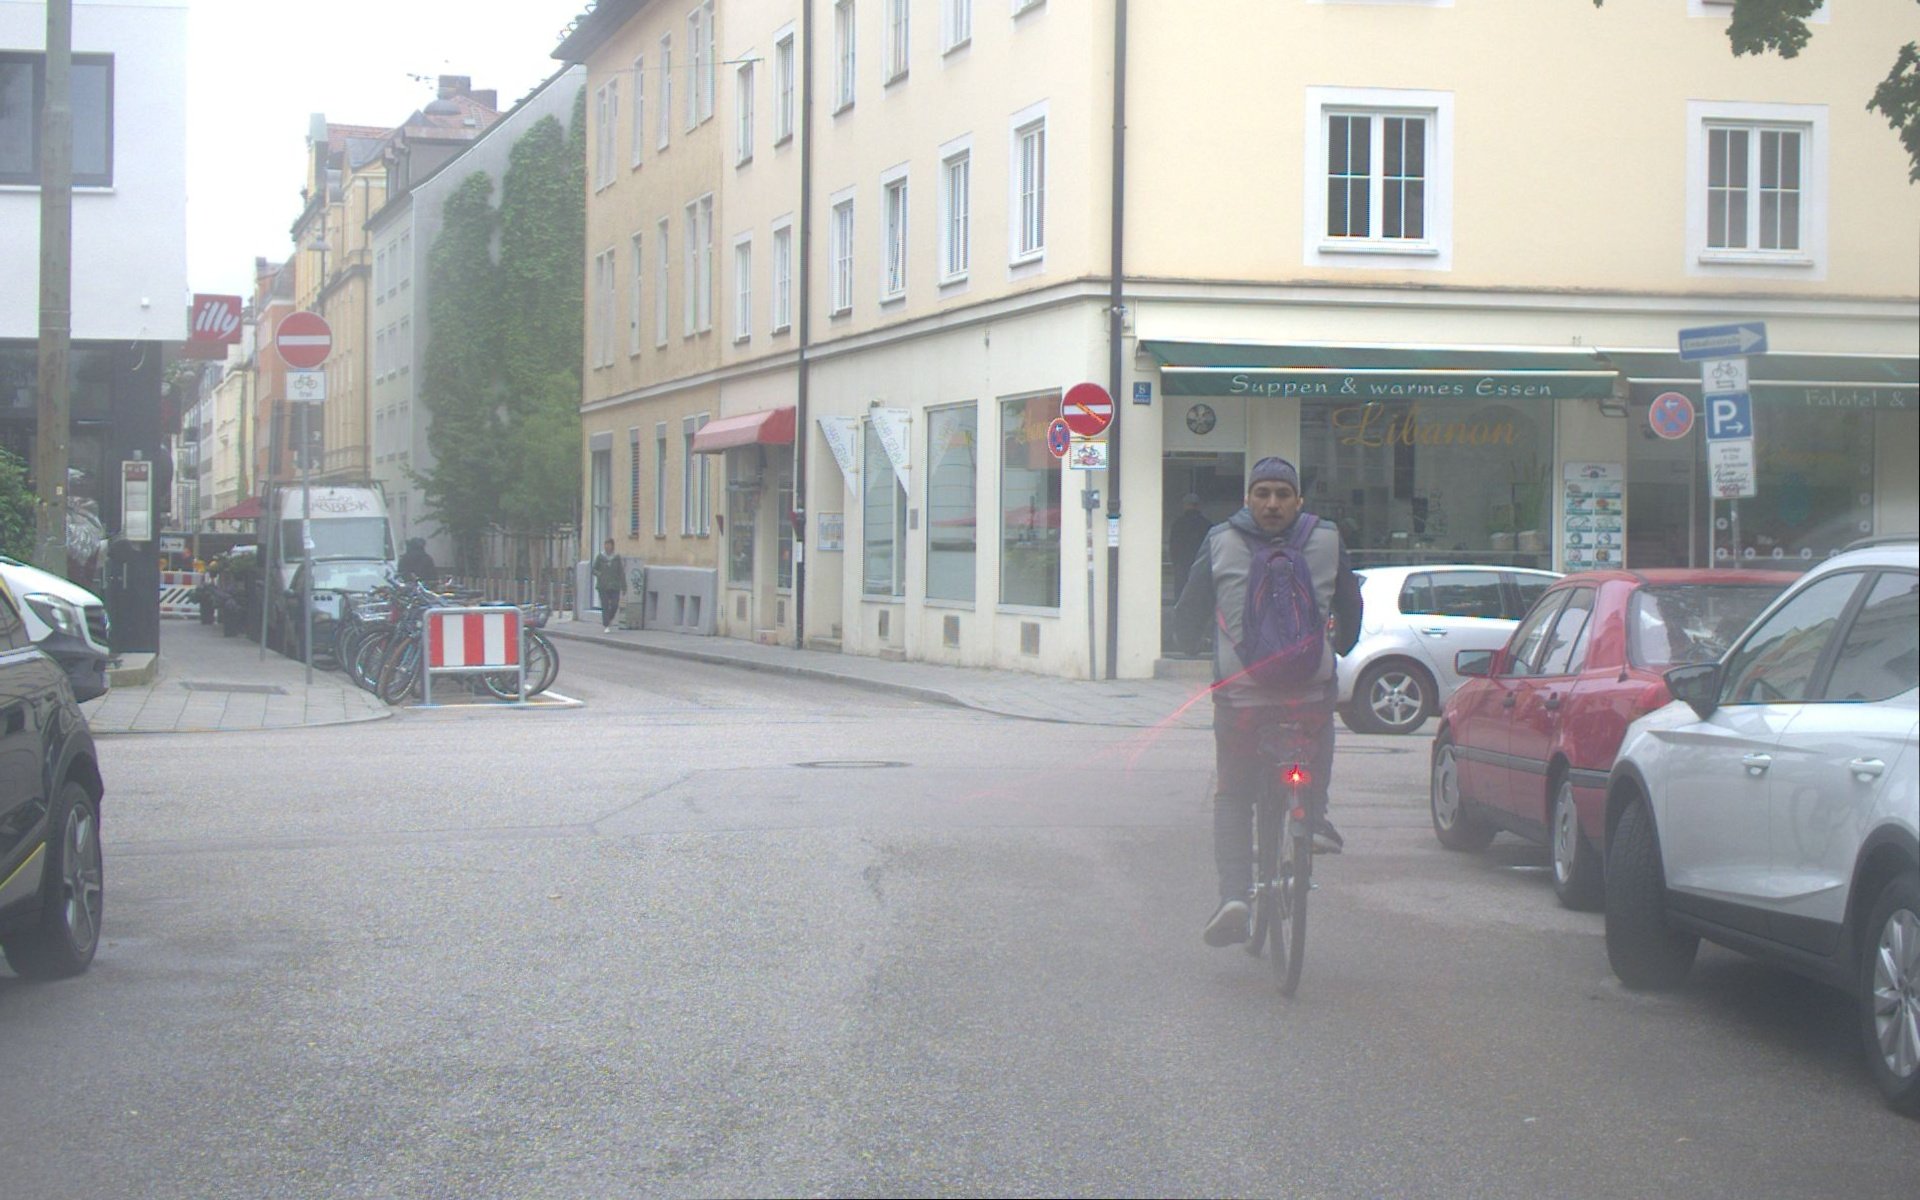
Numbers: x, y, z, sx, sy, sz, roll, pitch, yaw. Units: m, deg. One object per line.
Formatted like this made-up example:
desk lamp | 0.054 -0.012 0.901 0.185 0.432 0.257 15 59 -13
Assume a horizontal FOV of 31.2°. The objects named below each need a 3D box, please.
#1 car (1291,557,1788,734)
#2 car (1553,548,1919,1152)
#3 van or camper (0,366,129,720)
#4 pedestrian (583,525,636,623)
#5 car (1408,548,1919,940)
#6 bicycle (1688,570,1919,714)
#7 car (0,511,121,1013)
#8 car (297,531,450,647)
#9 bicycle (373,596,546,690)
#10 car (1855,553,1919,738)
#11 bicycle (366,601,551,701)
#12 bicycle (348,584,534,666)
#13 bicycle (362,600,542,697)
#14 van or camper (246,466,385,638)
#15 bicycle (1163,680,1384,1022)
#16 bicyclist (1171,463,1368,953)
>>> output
car | 4.968 0.419 29.845 3.987 1.411 1.820 1 -3 0
car | 3.142 0.615 10.244 1.750 1.491 3.910 1 1 -5
van or camper | -9.492 -0.429 26.447 5.903 2.668 1.873 0 -1 -10
pedestrian | -6.395 -0.482 62.680 0.877 1.772 0.774 0 1 -13
car | 3.172 0.522 15.178 1.669 1.430 4.214 1 1 -2
bicycle | 8.011 0.390 32.082 2.081 1.249 1.107 1 2 -10
car | -3.889 0.536 10.495 1.676 1.591 3.945 -1 1 0
car | -8.097 -0.181 47.222 1.832 1.530 4.001 0 1 -13
bicycle | -5.275 0.448 36.231 1.735 0.965 0.543 0 1 -17
car | 10.285 0.425 30.171 4.334 1.586 1.821 1 -1 -12
bicycle | -5.004 0.501 34.320 1.754 0.965 0.595 0 1 -17
bicycle | -5.613 0.267 37.159 1.910 0.860 0.619 0 1 -17
bicycle | -5.159 0.485 34.910 1.735 0.965 0.543 0 1 -17
van or camper | -10.026 -0.756 53.244 1.993 2.531 4.762 0 1 -12
bicycle | 1.029 0.805 11.564 0.639 1.001 1.574 0 1 2
bicyclist | 1.037 0.345 11.644 0.606 1.601 0.757 0 1 2
